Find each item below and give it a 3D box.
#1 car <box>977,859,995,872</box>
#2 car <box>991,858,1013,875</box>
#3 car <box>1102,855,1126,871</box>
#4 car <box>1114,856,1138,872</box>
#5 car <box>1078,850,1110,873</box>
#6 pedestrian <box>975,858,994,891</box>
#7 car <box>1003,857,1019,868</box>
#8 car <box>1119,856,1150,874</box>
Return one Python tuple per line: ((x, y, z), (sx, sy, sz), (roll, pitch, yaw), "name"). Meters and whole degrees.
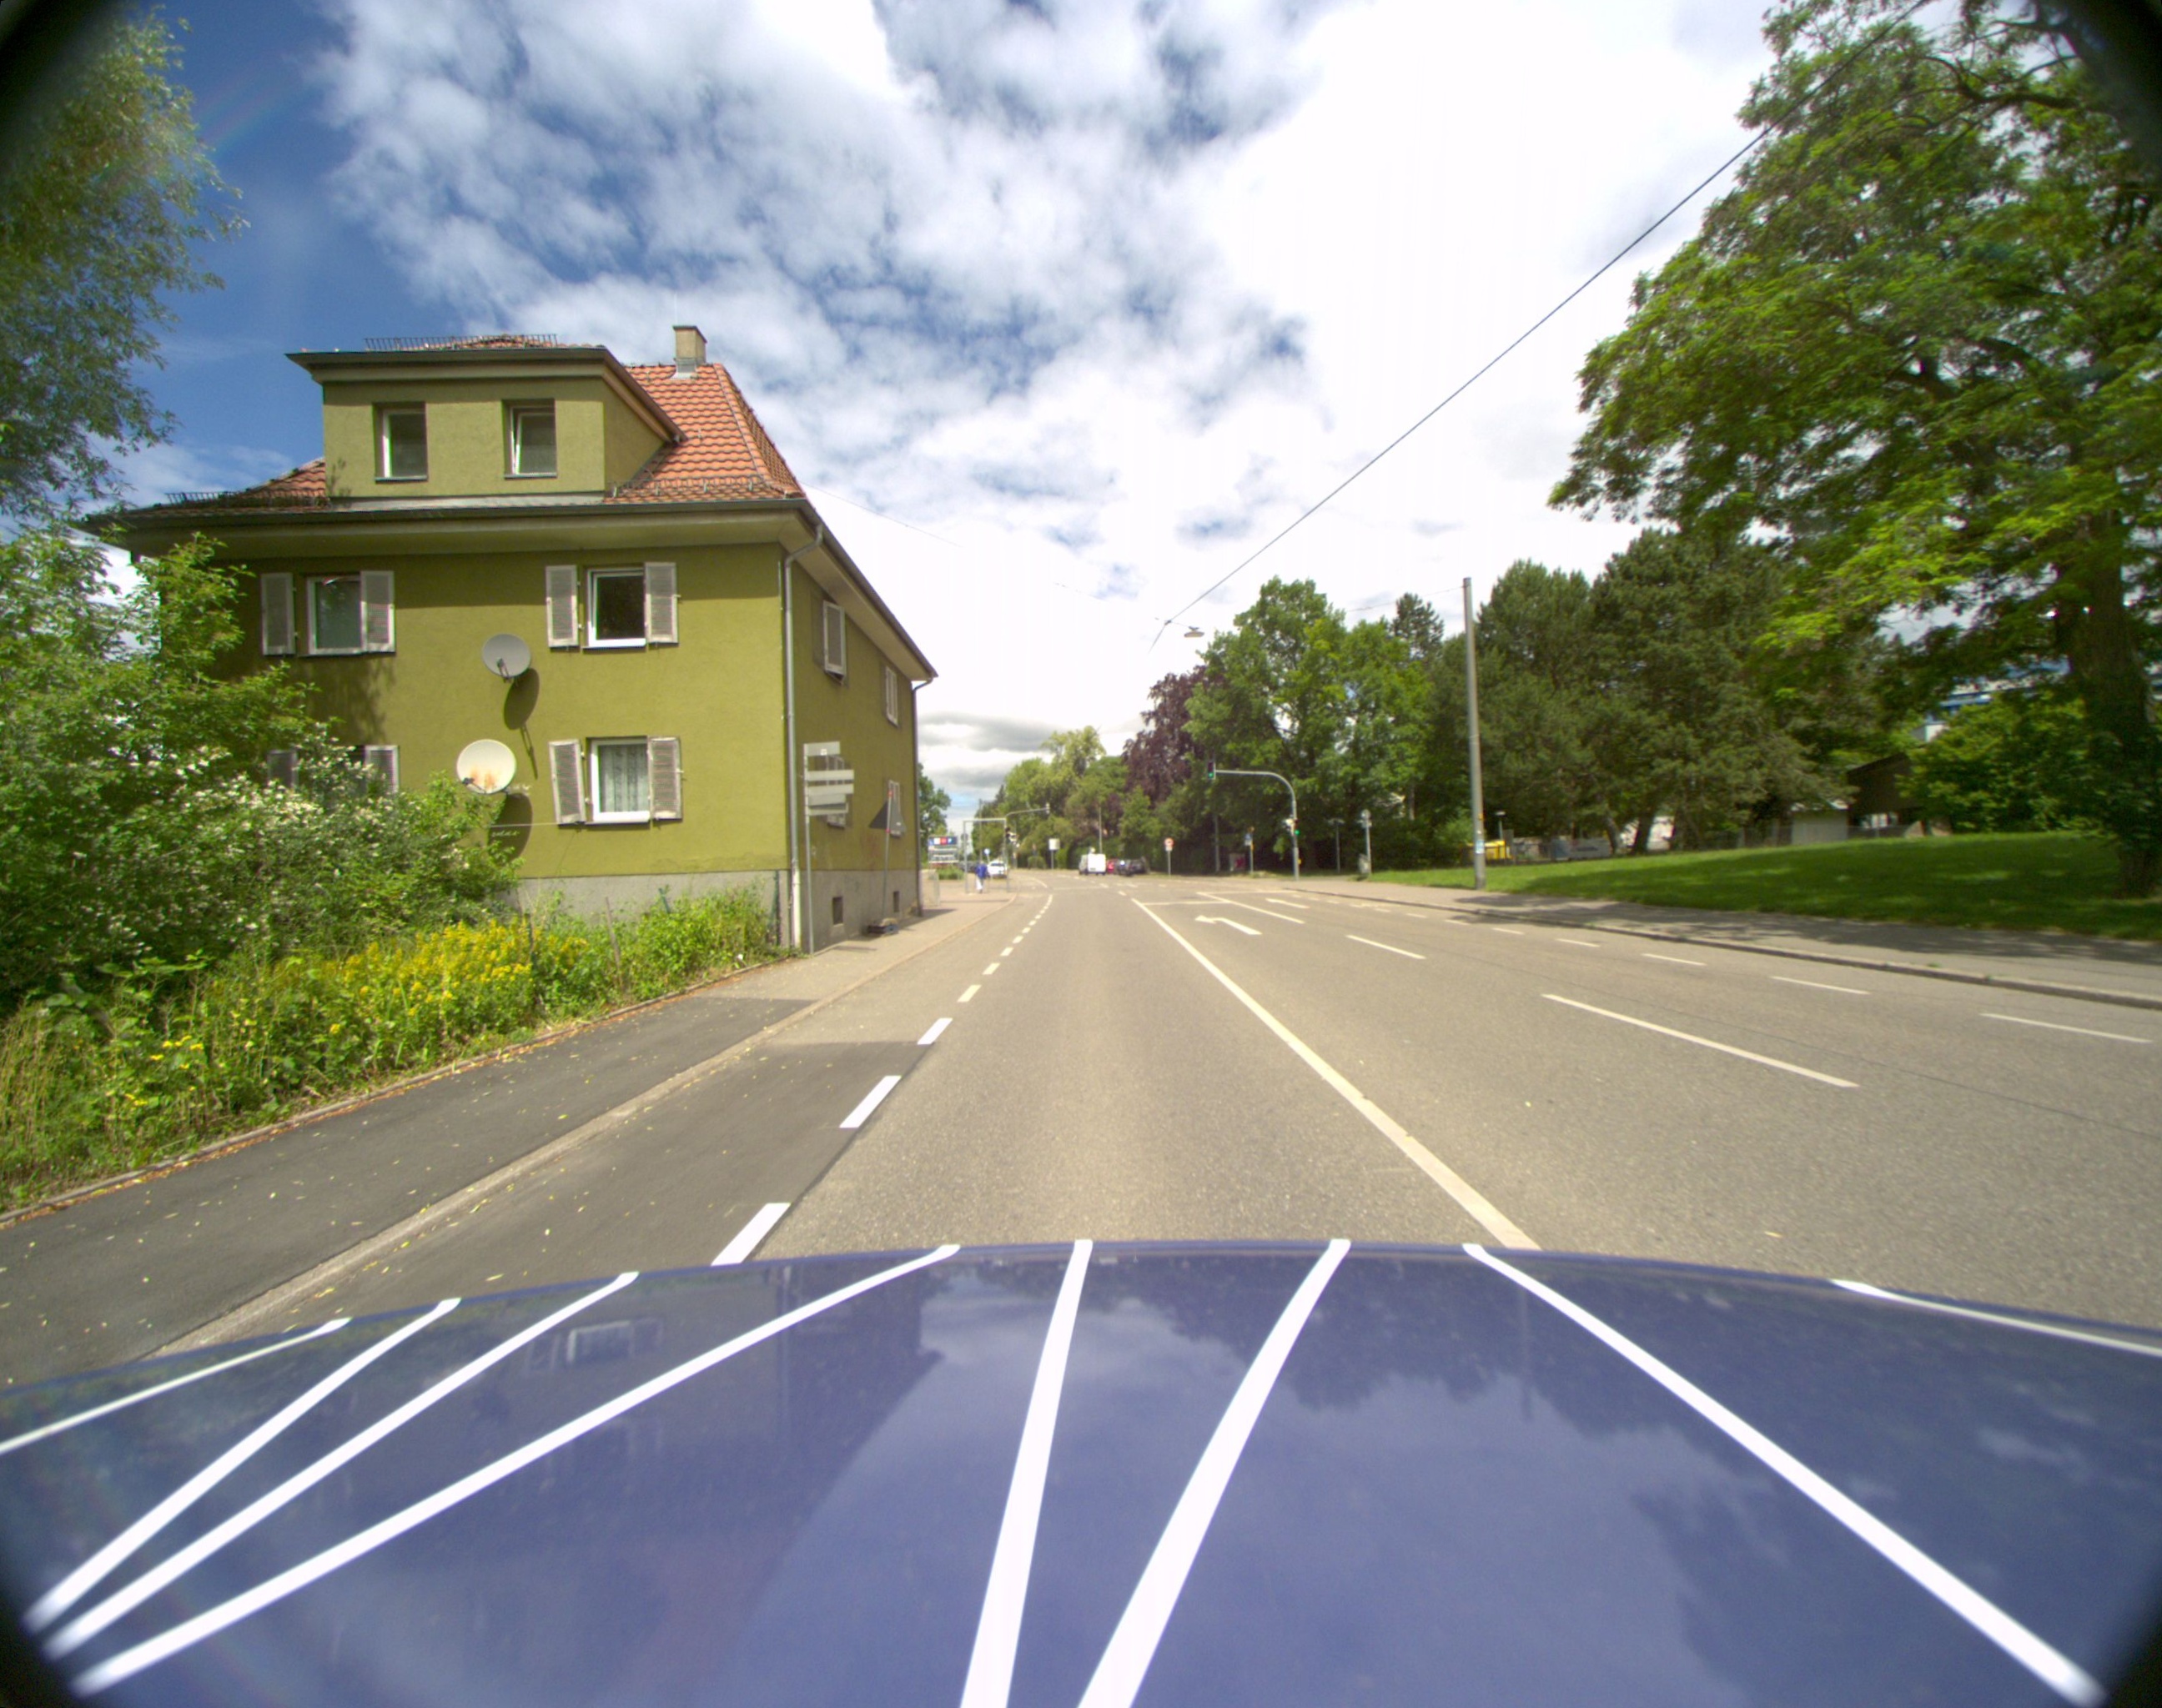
((-12.236, 1.430, 97.296), (1.707, 1.522, 3.995), (-3, 0, -15), "car")
((-7.226, 1.120, 68.977), (1.796, 1.522, 3.918), (1, 0, -9), "car")
((3.313, 0.922, 76.939), (1.524, 1.469, 3.321), (-3, 0, -12), "car")
((4.252, 0.937, 72.573), (1.560, 1.404, 3.191), (-3, 1, -9), "car")
((1.199, 0.684, 72.209), (2.000, 2.011, 5.347), (-1, 0, -10), "car")
((-4.692, 1.008, 37.053), (0.826, 1.563, 0.987), (-1, 0, -4), "pedestrian")
((-9.753, 1.206, 105.199), (1.553, 1.418, 3.851), (-3, 0, -14), "car")
((4.740, 0.918, 67.887), (1.688, 1.407, 4.398), (-3, 1, -9), "car")
